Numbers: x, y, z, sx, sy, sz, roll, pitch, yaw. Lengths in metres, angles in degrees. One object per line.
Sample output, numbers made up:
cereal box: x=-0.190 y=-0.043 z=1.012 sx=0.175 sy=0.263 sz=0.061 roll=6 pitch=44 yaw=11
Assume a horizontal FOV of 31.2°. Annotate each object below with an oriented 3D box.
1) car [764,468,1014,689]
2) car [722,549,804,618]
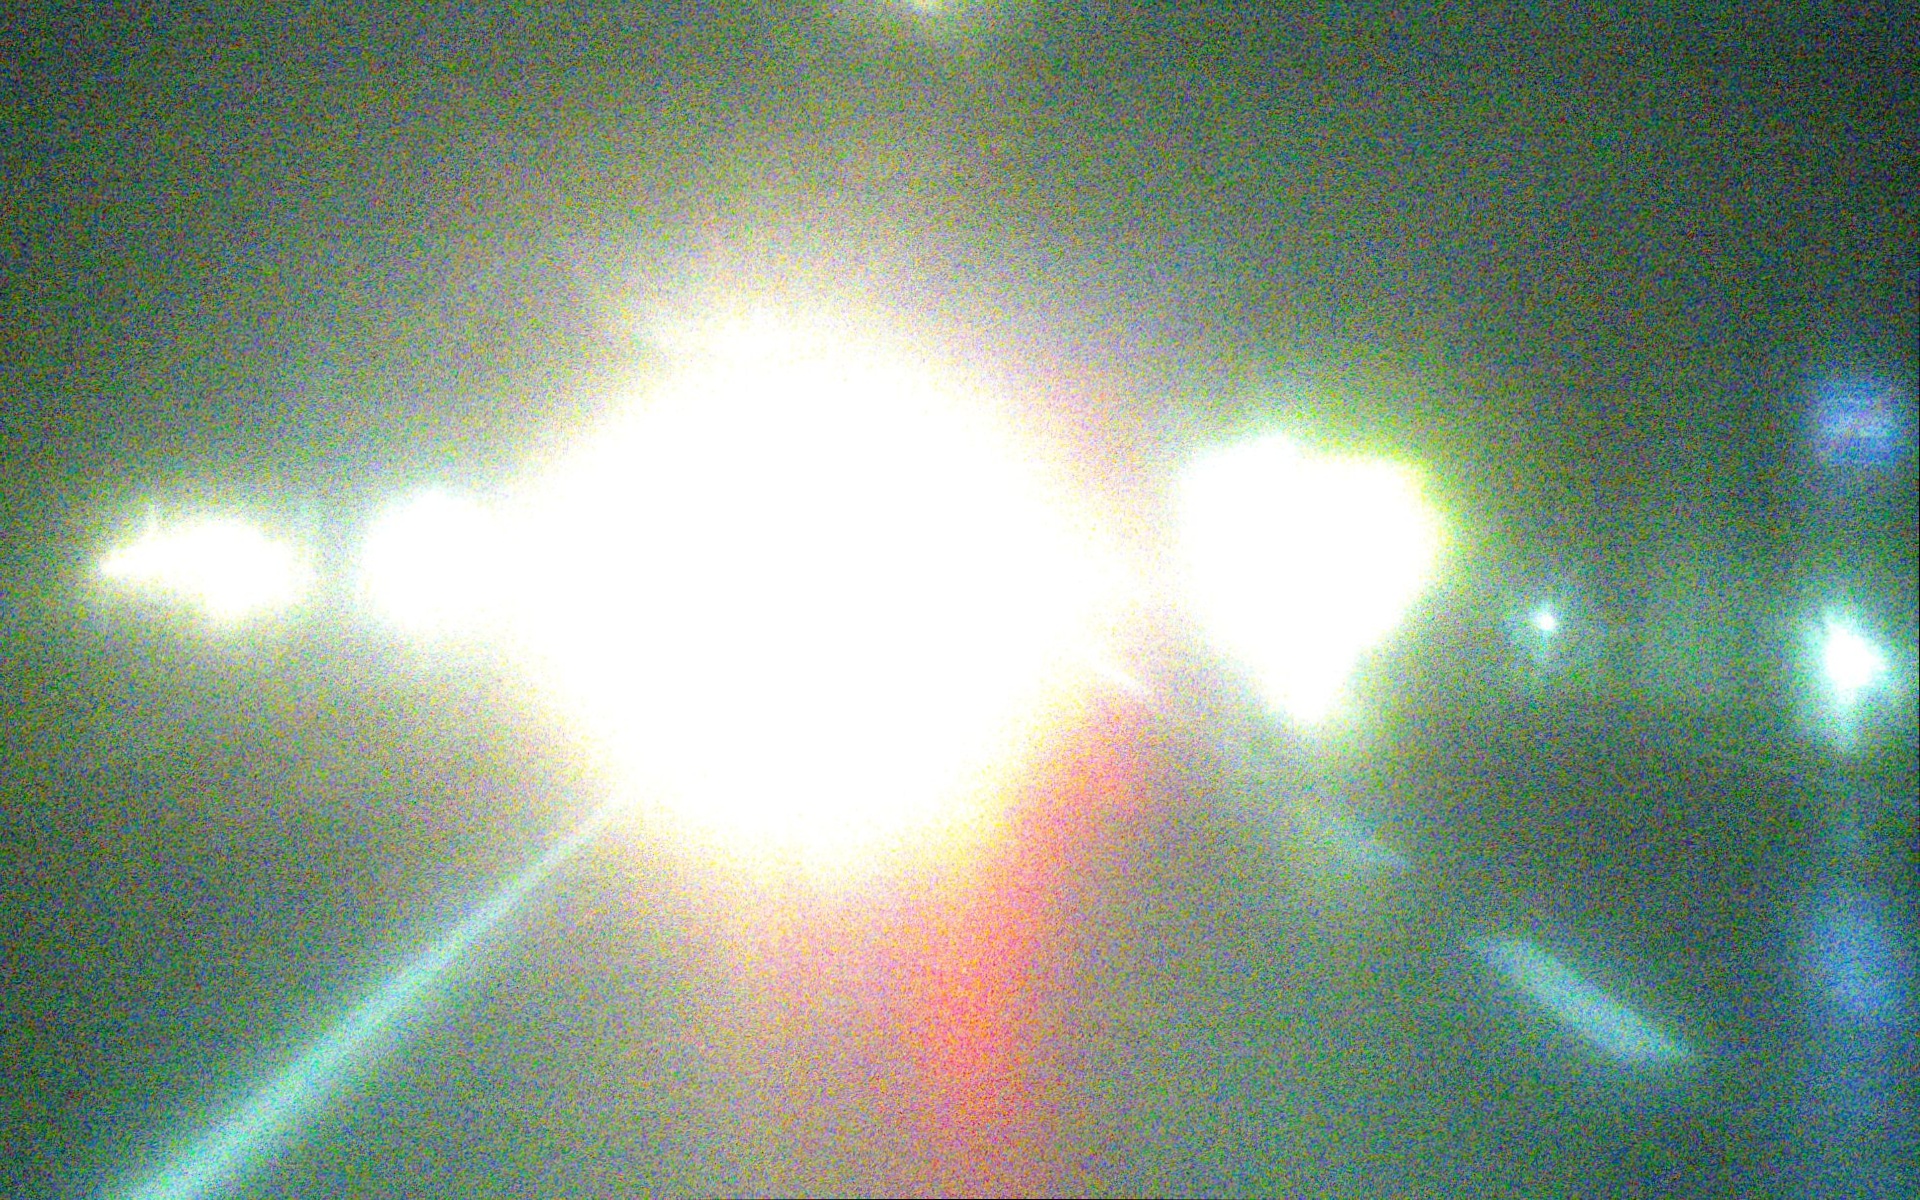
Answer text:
car: x=-0.640 y=-0.188 z=27.412 sx=1.808 sy=1.616 sz=4.001 roll=1 pitch=1 yaw=-4
car: x=-4.871 y=-0.423 z=85.479 sx=1.900 sy=1.639 sz=3.791 roll=1 pitch=1 yaw=-2
